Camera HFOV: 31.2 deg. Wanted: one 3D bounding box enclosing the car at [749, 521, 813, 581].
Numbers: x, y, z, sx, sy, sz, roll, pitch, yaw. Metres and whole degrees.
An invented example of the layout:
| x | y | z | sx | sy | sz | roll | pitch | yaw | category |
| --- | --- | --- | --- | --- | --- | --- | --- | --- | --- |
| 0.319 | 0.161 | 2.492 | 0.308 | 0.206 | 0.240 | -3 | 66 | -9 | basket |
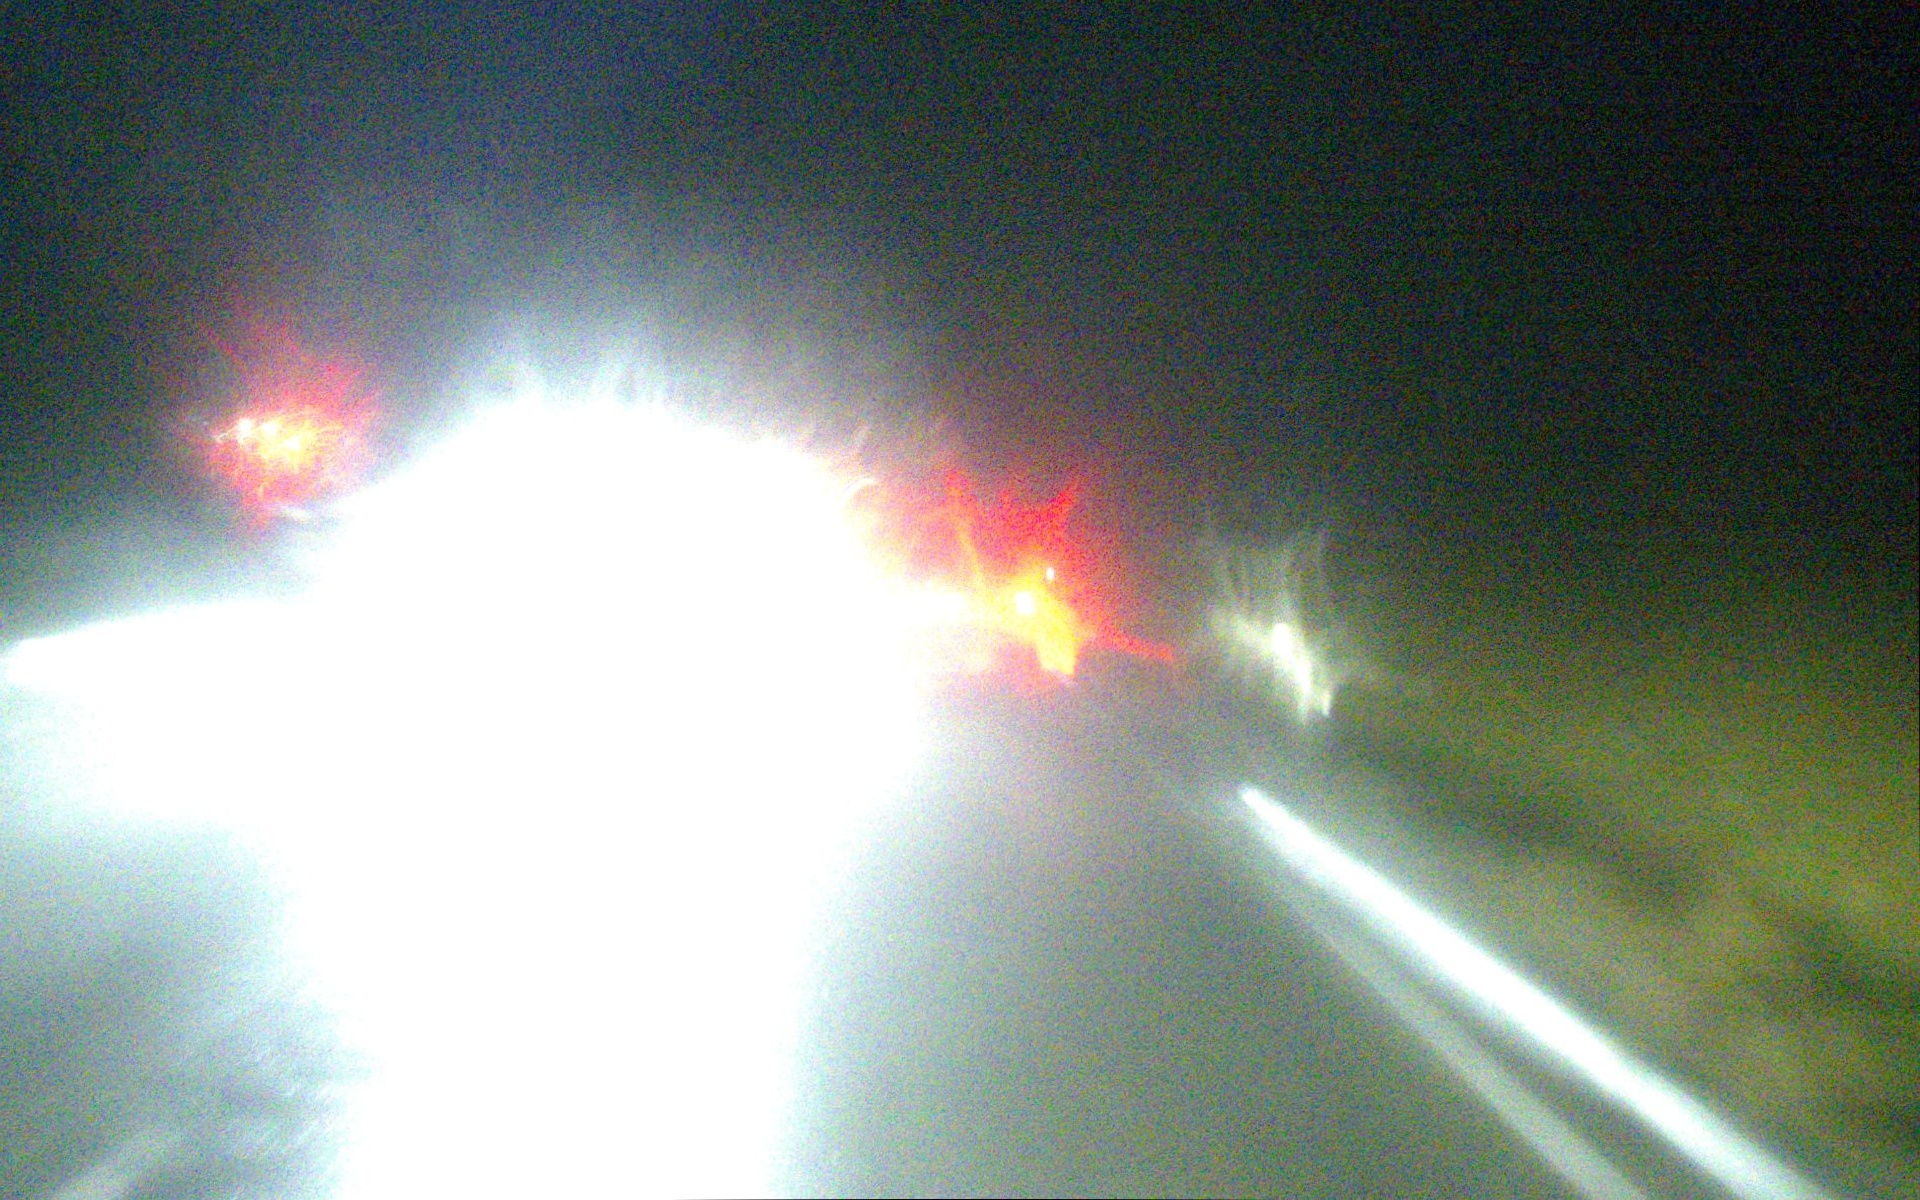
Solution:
| x | y | z | sx | sy | sz | roll | pitch | yaw | category |
| --- | --- | --- | --- | --- | --- | --- | --- | --- | --- |
| -6.442 | -1.785 | 124.113 | 1.993 | 2.006 | 4.000 | -4 | 1 | -1 | car |

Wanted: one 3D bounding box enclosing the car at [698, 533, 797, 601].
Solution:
| x | y | z | sx | sy | sz | roll | pitch | yaw | category |
| --- | --- | --- | --- | --- | --- | --- | --- | --- | --- |
| -4.906 | -0.757 | 80.008 | 1.919 | 1.466 | 4.574 | -2 | 0 | 1 | car |

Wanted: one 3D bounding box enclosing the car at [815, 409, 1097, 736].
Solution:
| x | y | z | sx | sy | sz | roll | pitch | yaw | category |
| --- | --- | --- | --- | --- | --- | --- | --- | --- | --- |
| -0.061 | -0.338 | 29.466 | 2.181 | 2.548 | 4.509 | 1 | 3 | -1 | car |

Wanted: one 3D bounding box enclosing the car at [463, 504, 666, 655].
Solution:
| x | y | z | sx | sy | sz | roll | pitch | yaw | category |
| --- | --- | --- | --- | --- | --- | --- | --- | --- | --- |
| -4.156 | -0.261 | 36.600 | 1.772 | 1.505 | 3.690 | 0 | 2 | -1 | car |
